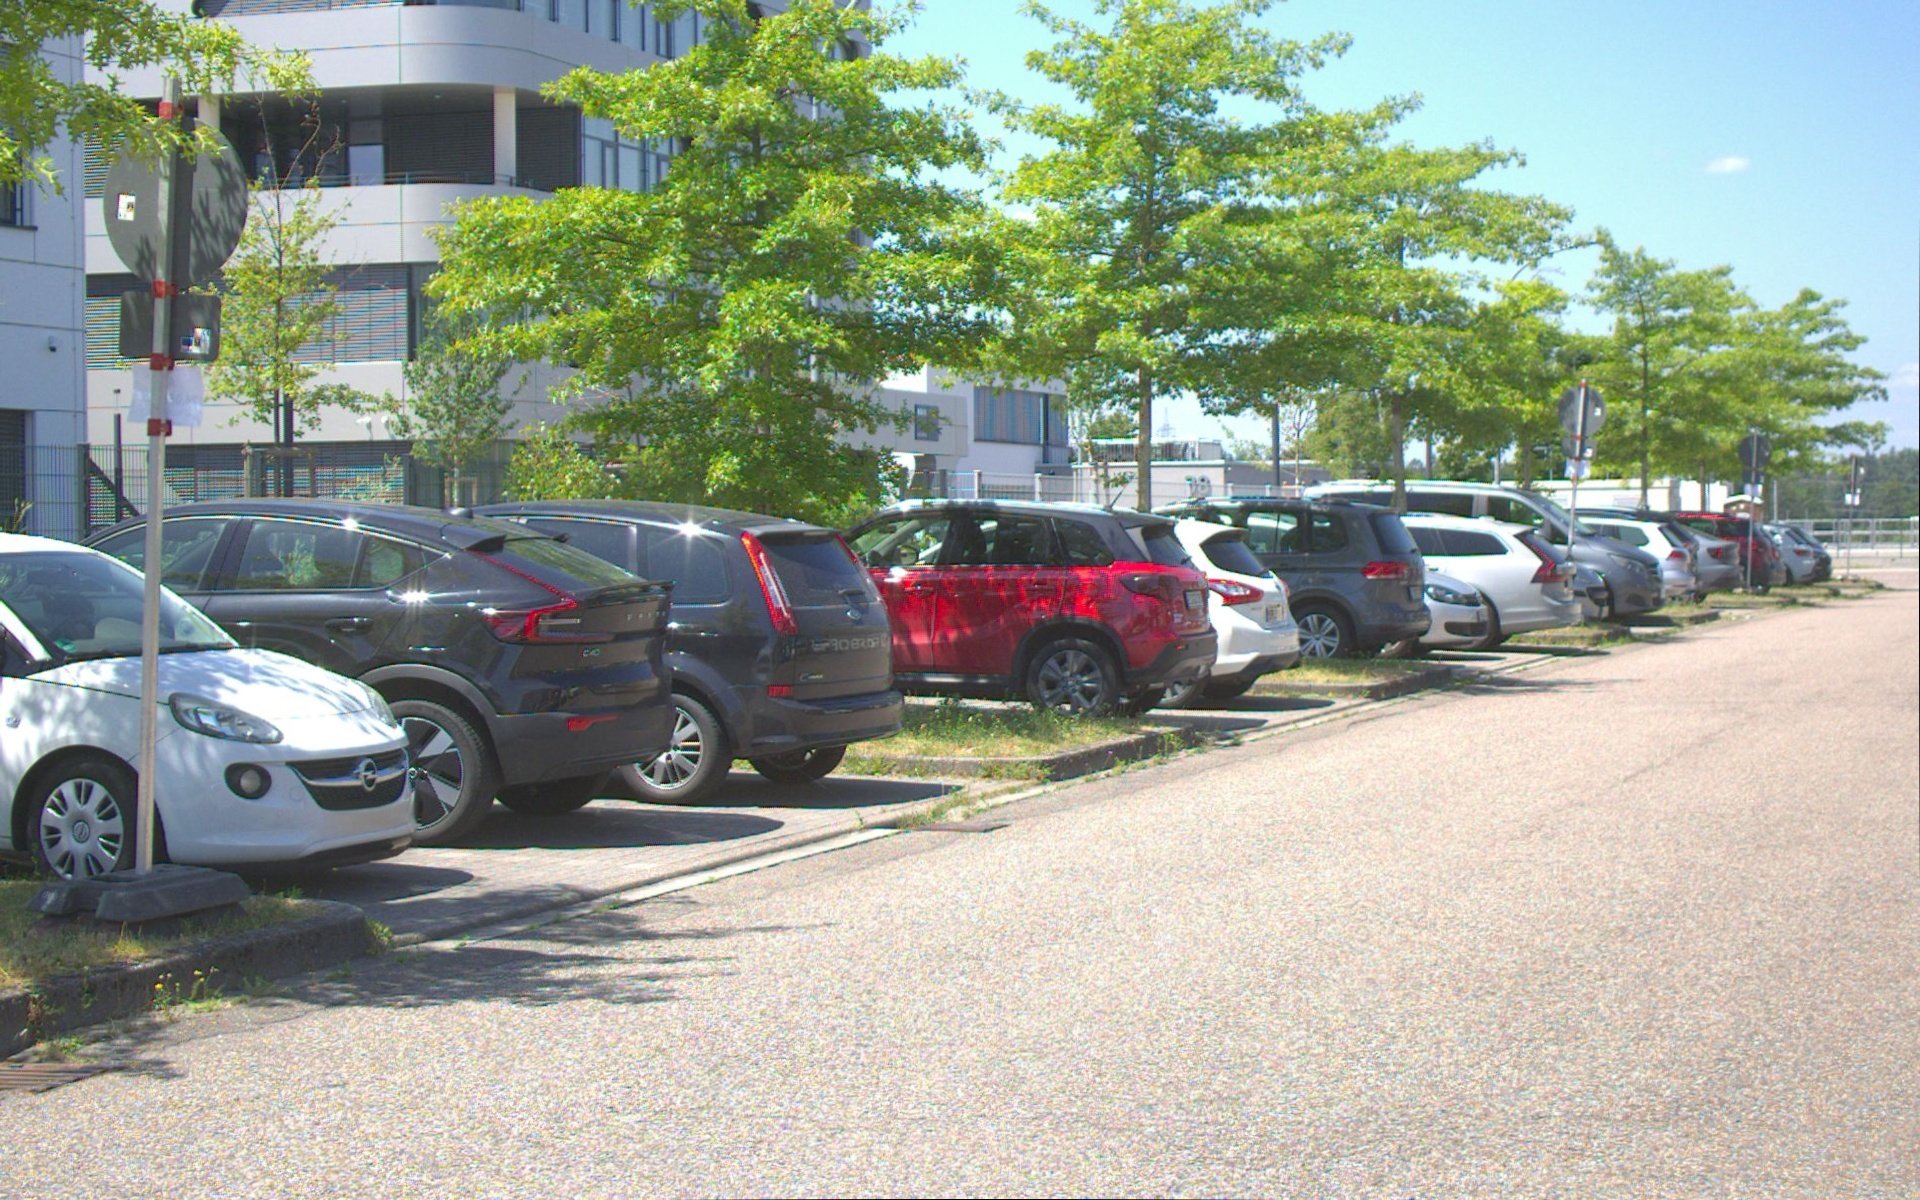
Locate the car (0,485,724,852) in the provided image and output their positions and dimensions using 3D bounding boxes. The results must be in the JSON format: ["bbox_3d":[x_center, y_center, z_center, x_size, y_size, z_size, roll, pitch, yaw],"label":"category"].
[{"bbox_3d":[-3.301,0.266,17.027,3.841,1.588,1.828,2,2,16],"label":"car"}]

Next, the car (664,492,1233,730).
[{"bbox_3d":[-0.065,0.033,25.453,3.842,1.586,1.726,2,2,17],"label":"car"}]

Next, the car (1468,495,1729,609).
[{"bbox_3d":[10.324,-0.794,55.546,3.990,1.672,1.776,2,2,14],"label":"car"}]

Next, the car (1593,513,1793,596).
[{"bbox_3d":[14.176,-0.892,66.431,3.659,1.503,1.730,2,2,16],"label":"car"}]

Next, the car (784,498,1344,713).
[{"bbox_3d":[0.852,-0.004,28.039,4.176,1.508,1.805,2,3,21],"label":"car"}]

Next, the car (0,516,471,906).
[{"bbox_3d":[-4.064,0.383,14.620,3.508,1.436,1.726,2,2,19],"label":"car"}]

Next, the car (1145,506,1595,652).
[{"bbox_3d":[4.583,-0.269,38.334,4.717,1.442,1.856,2,2,16],"label":"car"}]

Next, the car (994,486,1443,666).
[{"bbox_3d":[2.577,-0.277,34.188,4.121,1.629,1.726,2,2,18],"label":"car"}]

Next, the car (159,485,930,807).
[{"bbox_3d":[-2.314,0.193,19.286,3.910,1.586,1.726,2,2,19],"label":"car"}]

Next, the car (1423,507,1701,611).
[{"bbox_3d":[9.335,-0.652,53.263,4.040,1.456,1.603,2,2,16],"label":"car"}]

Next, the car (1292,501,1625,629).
[{"bbox_3d":[6.478,-0.481,44.667,3.973,1.479,1.762,2,2,20],"label":"car"}]

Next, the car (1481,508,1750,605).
[{"bbox_3d":[11.071,-0.756,58.060,4.197,1.475,1.711,2,2,20],"label":"car"}]

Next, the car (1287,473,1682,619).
[{"bbox_3d":[7.268,-0.773,47.647,5.075,1.885,1.995,2,2,21],"label":"car"}]

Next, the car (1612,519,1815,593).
[{"bbox_3d":[16.011,-0.945,73.038,4.078,1.419,1.872,2,2,16],"label":"car"}]

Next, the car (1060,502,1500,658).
[{"bbox_3d":[3.375,-0.244,36.173,4.314,1.468,1.726,2,2,17],"label":"car"}]

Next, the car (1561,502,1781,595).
[{"bbox_3d":[13.240,-0.969,63.988,3.741,1.616,1.815,2,2,20],"label":"car"}]
